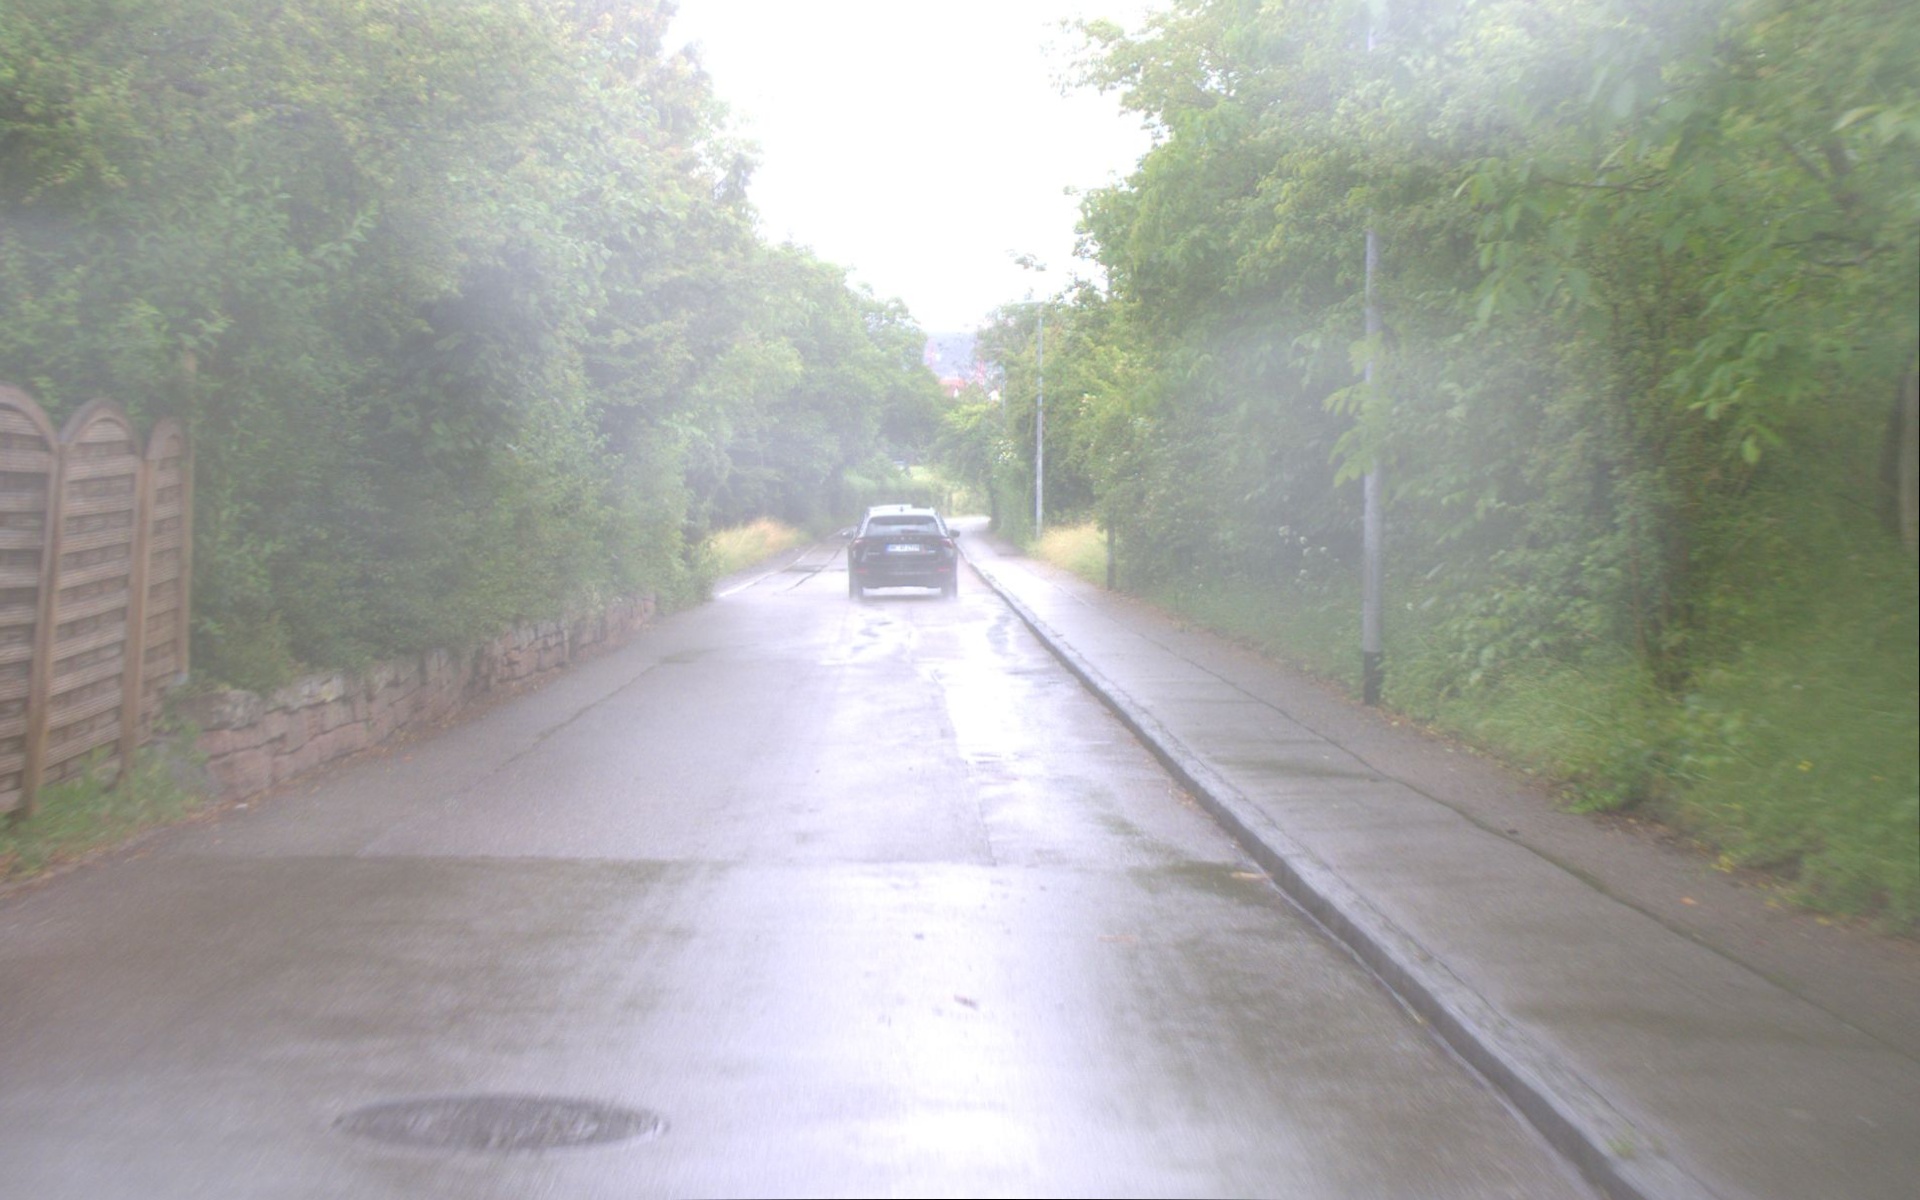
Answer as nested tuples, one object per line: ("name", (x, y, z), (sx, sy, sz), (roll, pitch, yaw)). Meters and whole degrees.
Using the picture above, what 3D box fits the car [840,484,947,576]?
("car", (-1.056, -1.127, 56.168), (1.634, 1.445, 3.545), (0, 1, 1))
